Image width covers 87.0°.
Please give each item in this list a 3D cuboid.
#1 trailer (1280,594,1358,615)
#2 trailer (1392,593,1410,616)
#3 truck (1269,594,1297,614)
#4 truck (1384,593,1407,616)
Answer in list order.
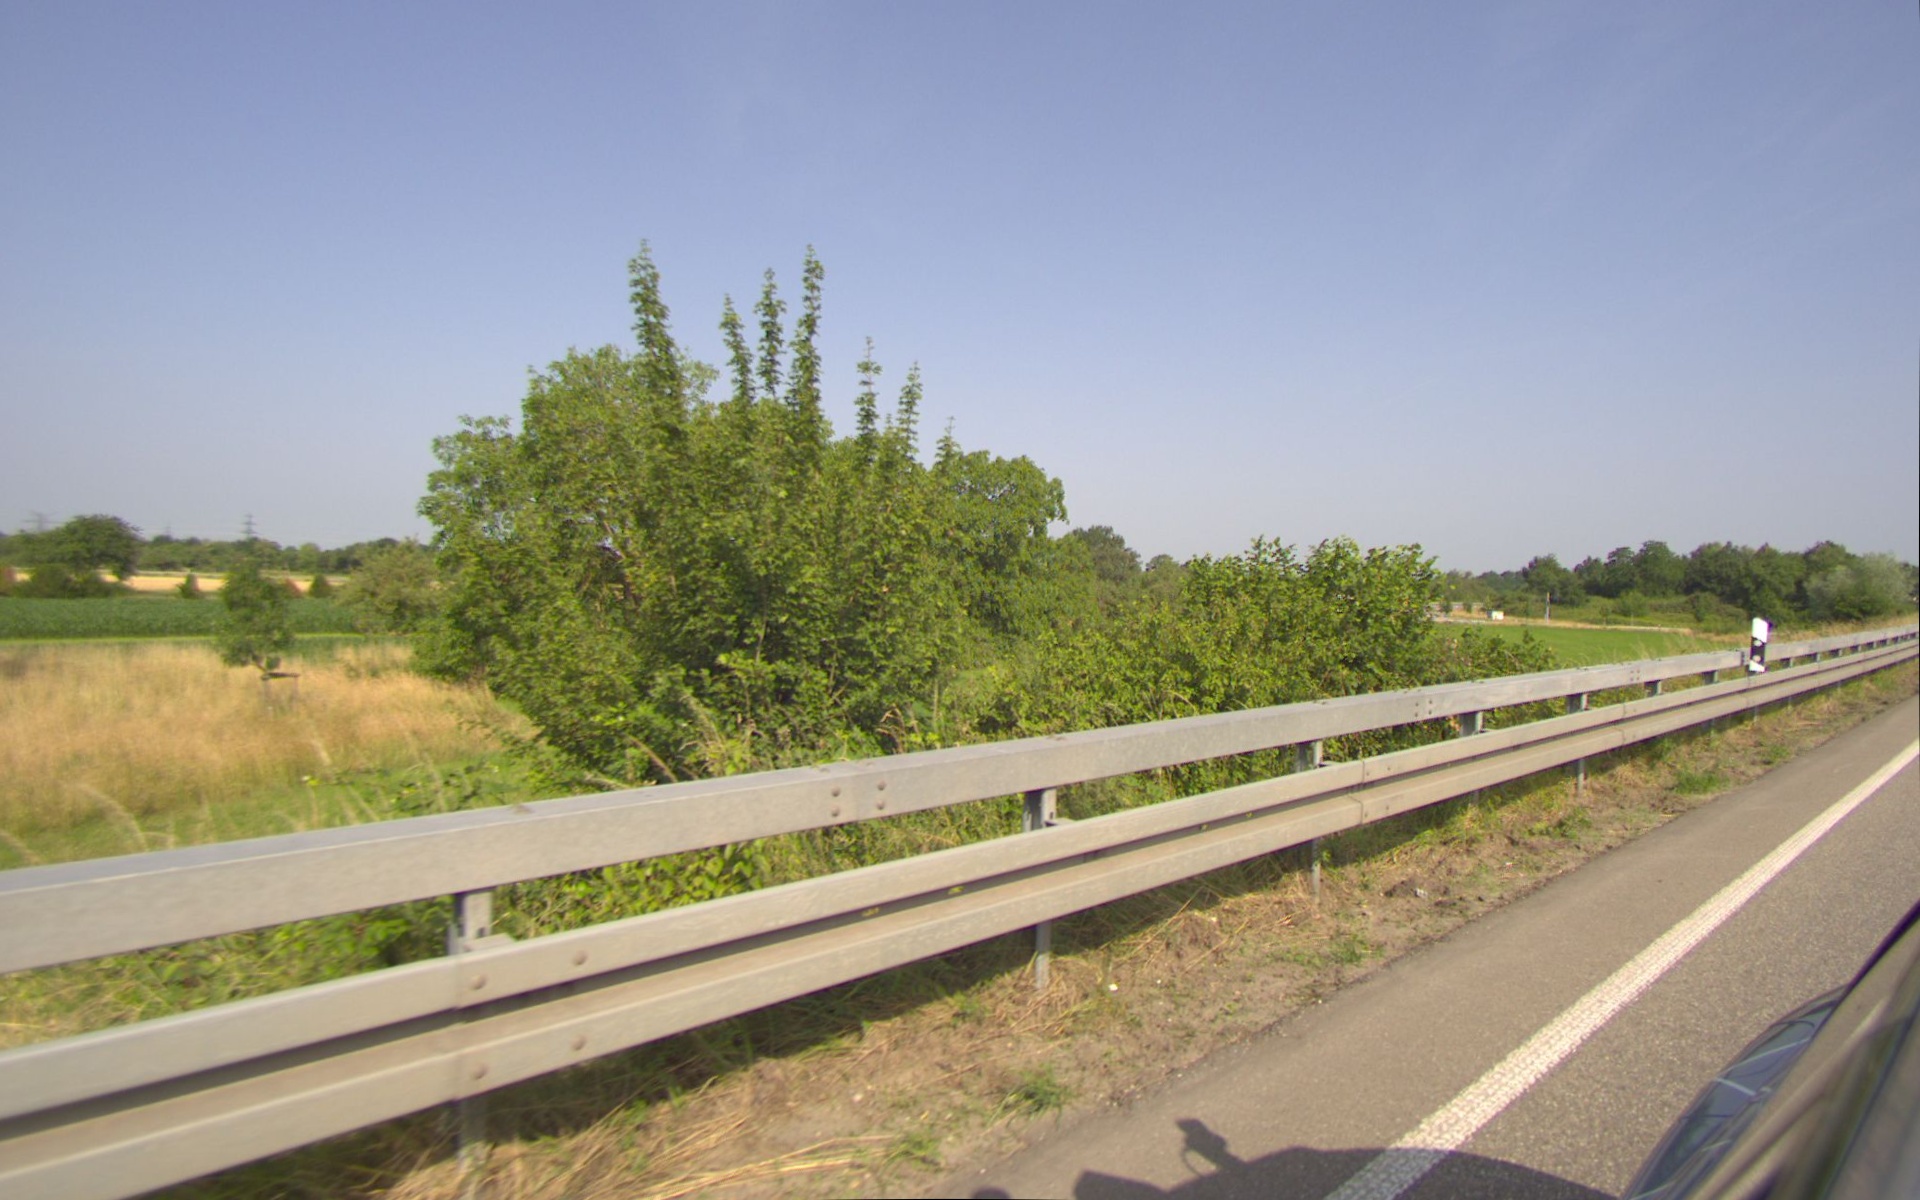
[{"bbox_3d":[68.586,0.839,193.663,13.707,3.699,2.102,1,0,11],"label":"trailer"},{"bbox_3d":[87.856,0.849,201.324,2.241,4.222,14.286,1,1,27],"label":"trailer"},{"bbox_3d":[62.195,0.686,194.854,4.872,3.724,2.098,1,0,15],"label":"truck"},{"bbox_3d":[84.336,0.863,195.839,4.290,4.222,2.261,1,1,-37],"label":"truck"}]
